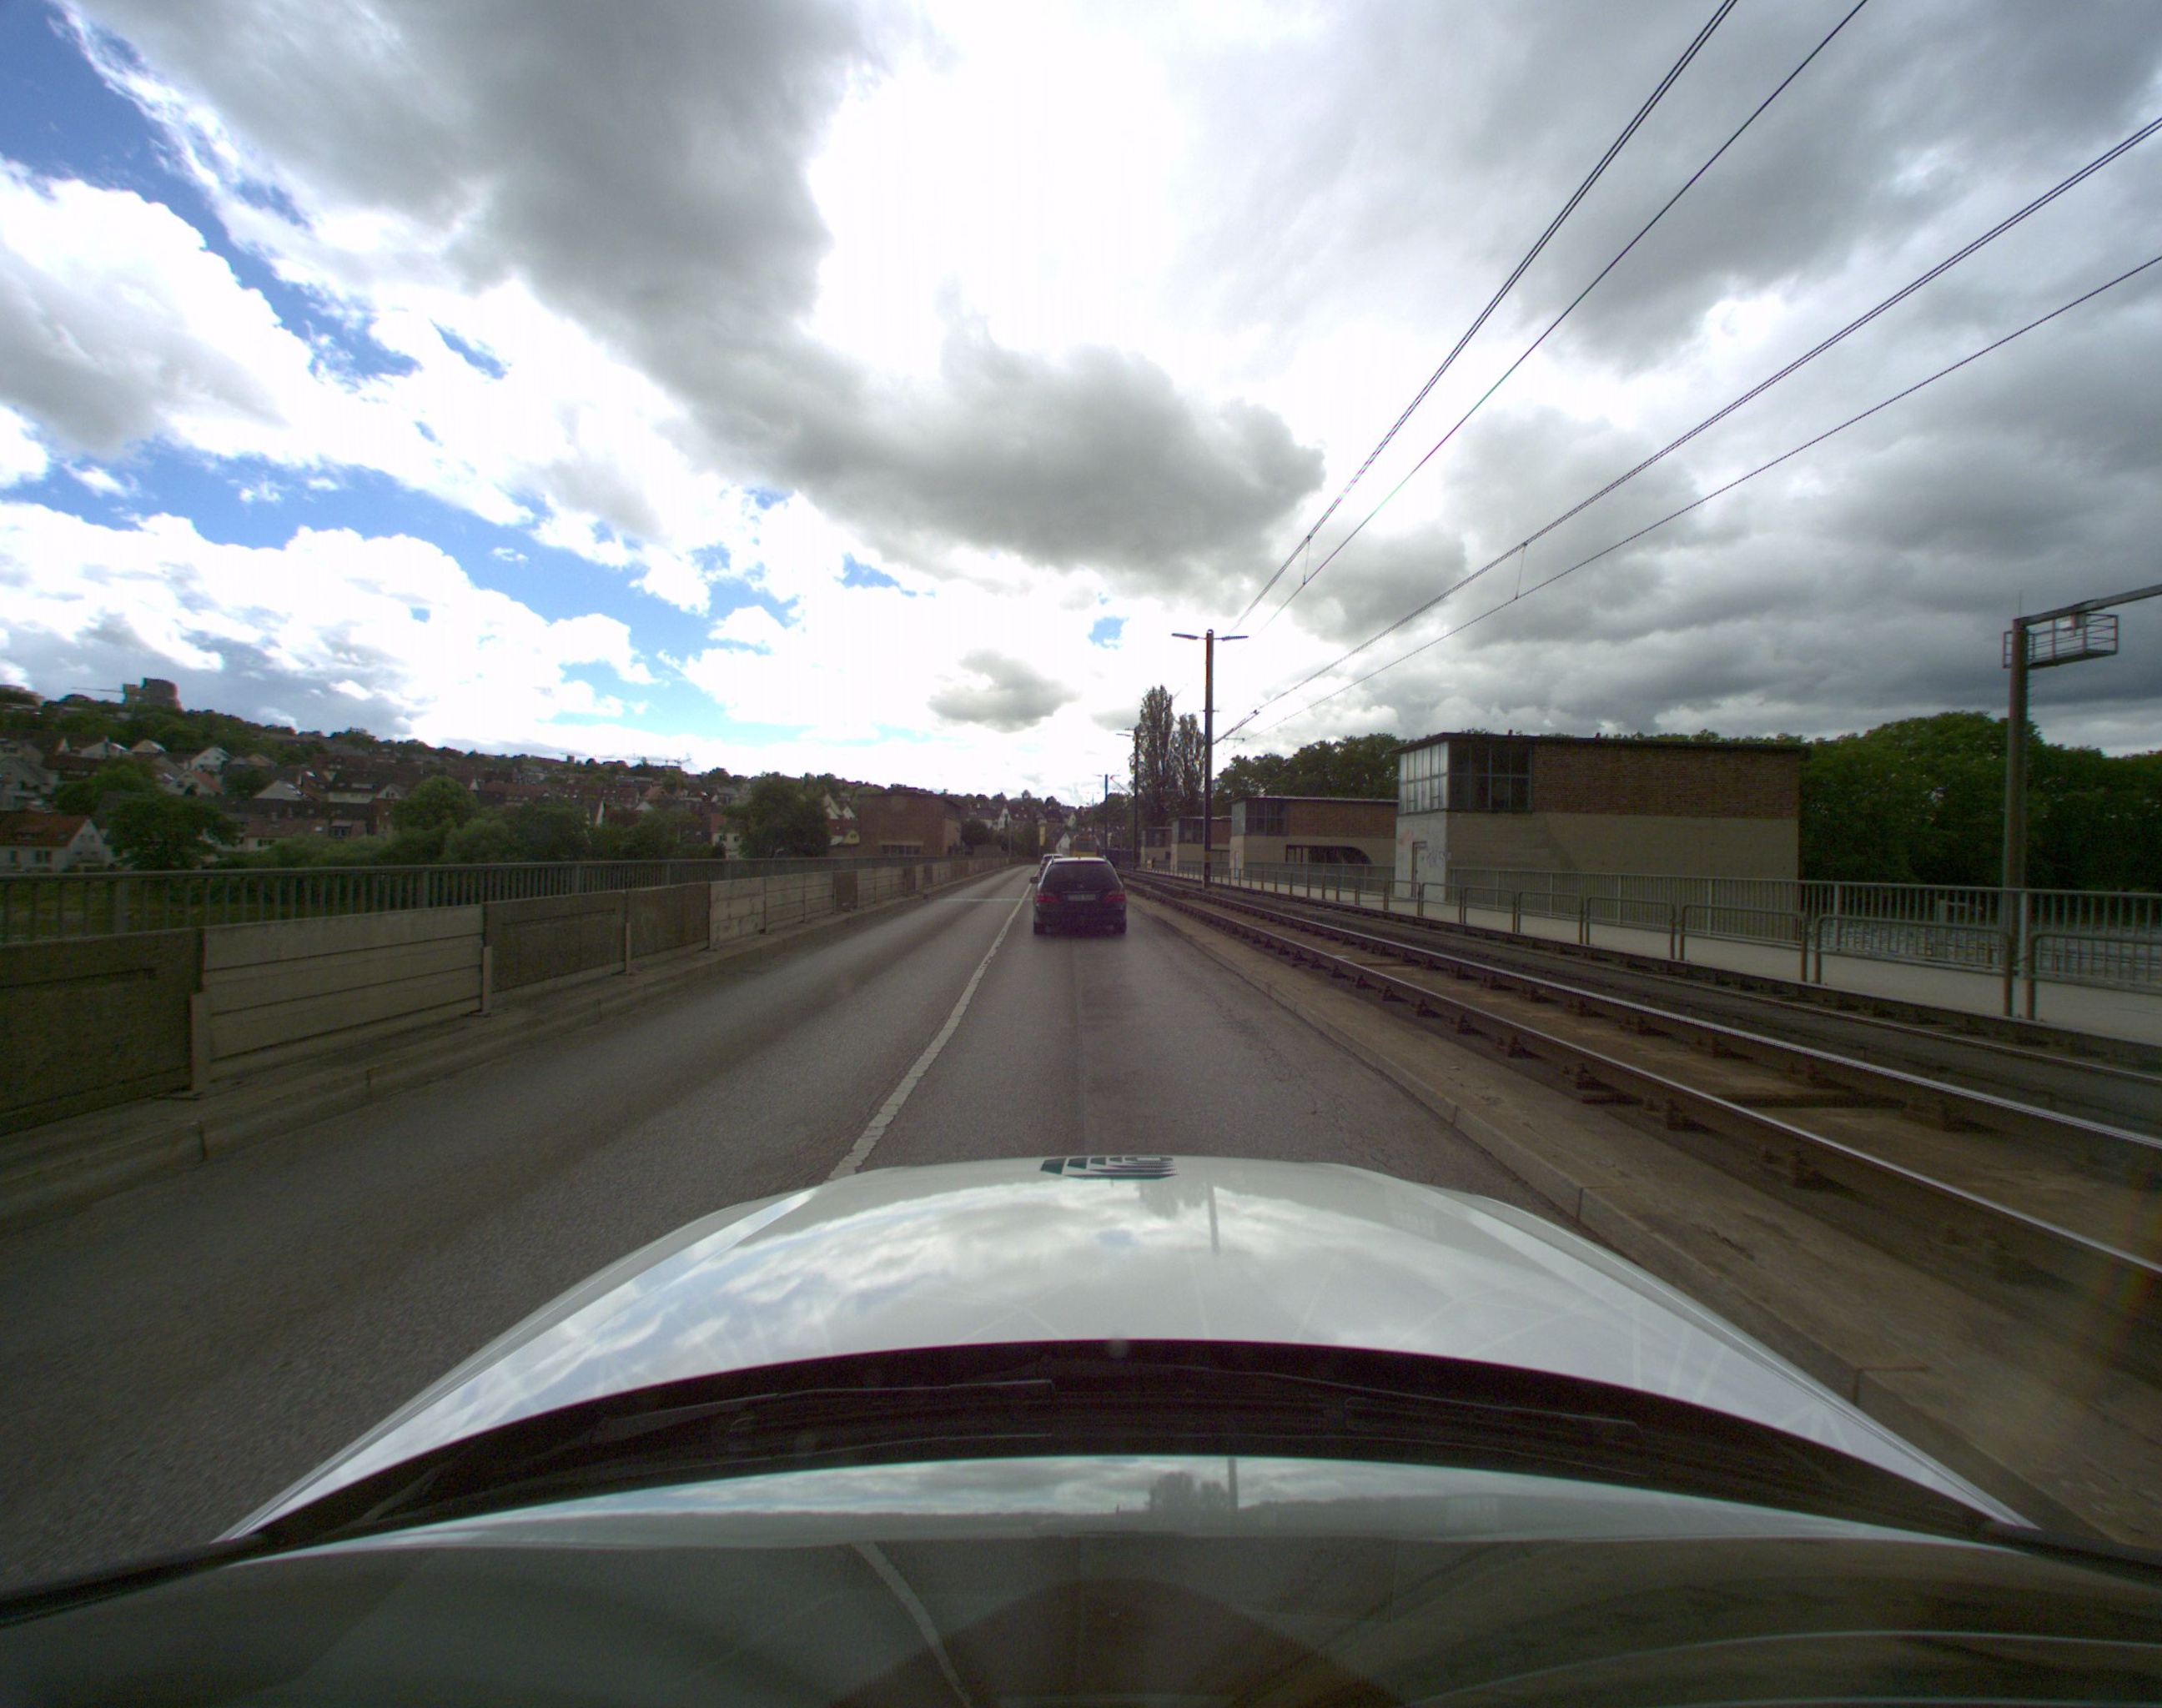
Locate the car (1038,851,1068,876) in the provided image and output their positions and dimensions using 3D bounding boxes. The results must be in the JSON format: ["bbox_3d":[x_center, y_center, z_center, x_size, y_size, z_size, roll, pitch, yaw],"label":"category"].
[{"bbox_3d":[-1.875,0.585,53.602,1.767,1.555,4.234,1,0,-5],"label":"car"}]

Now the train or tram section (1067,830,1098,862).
[{"bbox_3d":[0.023,-0.913,100.101,2.876,3.509,18.646,-1,0,-3],"label":"train or tram section"}]

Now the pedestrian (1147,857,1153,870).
[{"bbox_3d":[8.303,1.143,97.996,0.575,1.610,0.612,1,-1,-2],"label":"pedestrian"}]

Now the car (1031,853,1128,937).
[{"bbox_3d":[-0.056,0.735,16.959,1.754,1.515,4.440,0,0,-1],"label":"car"}]
